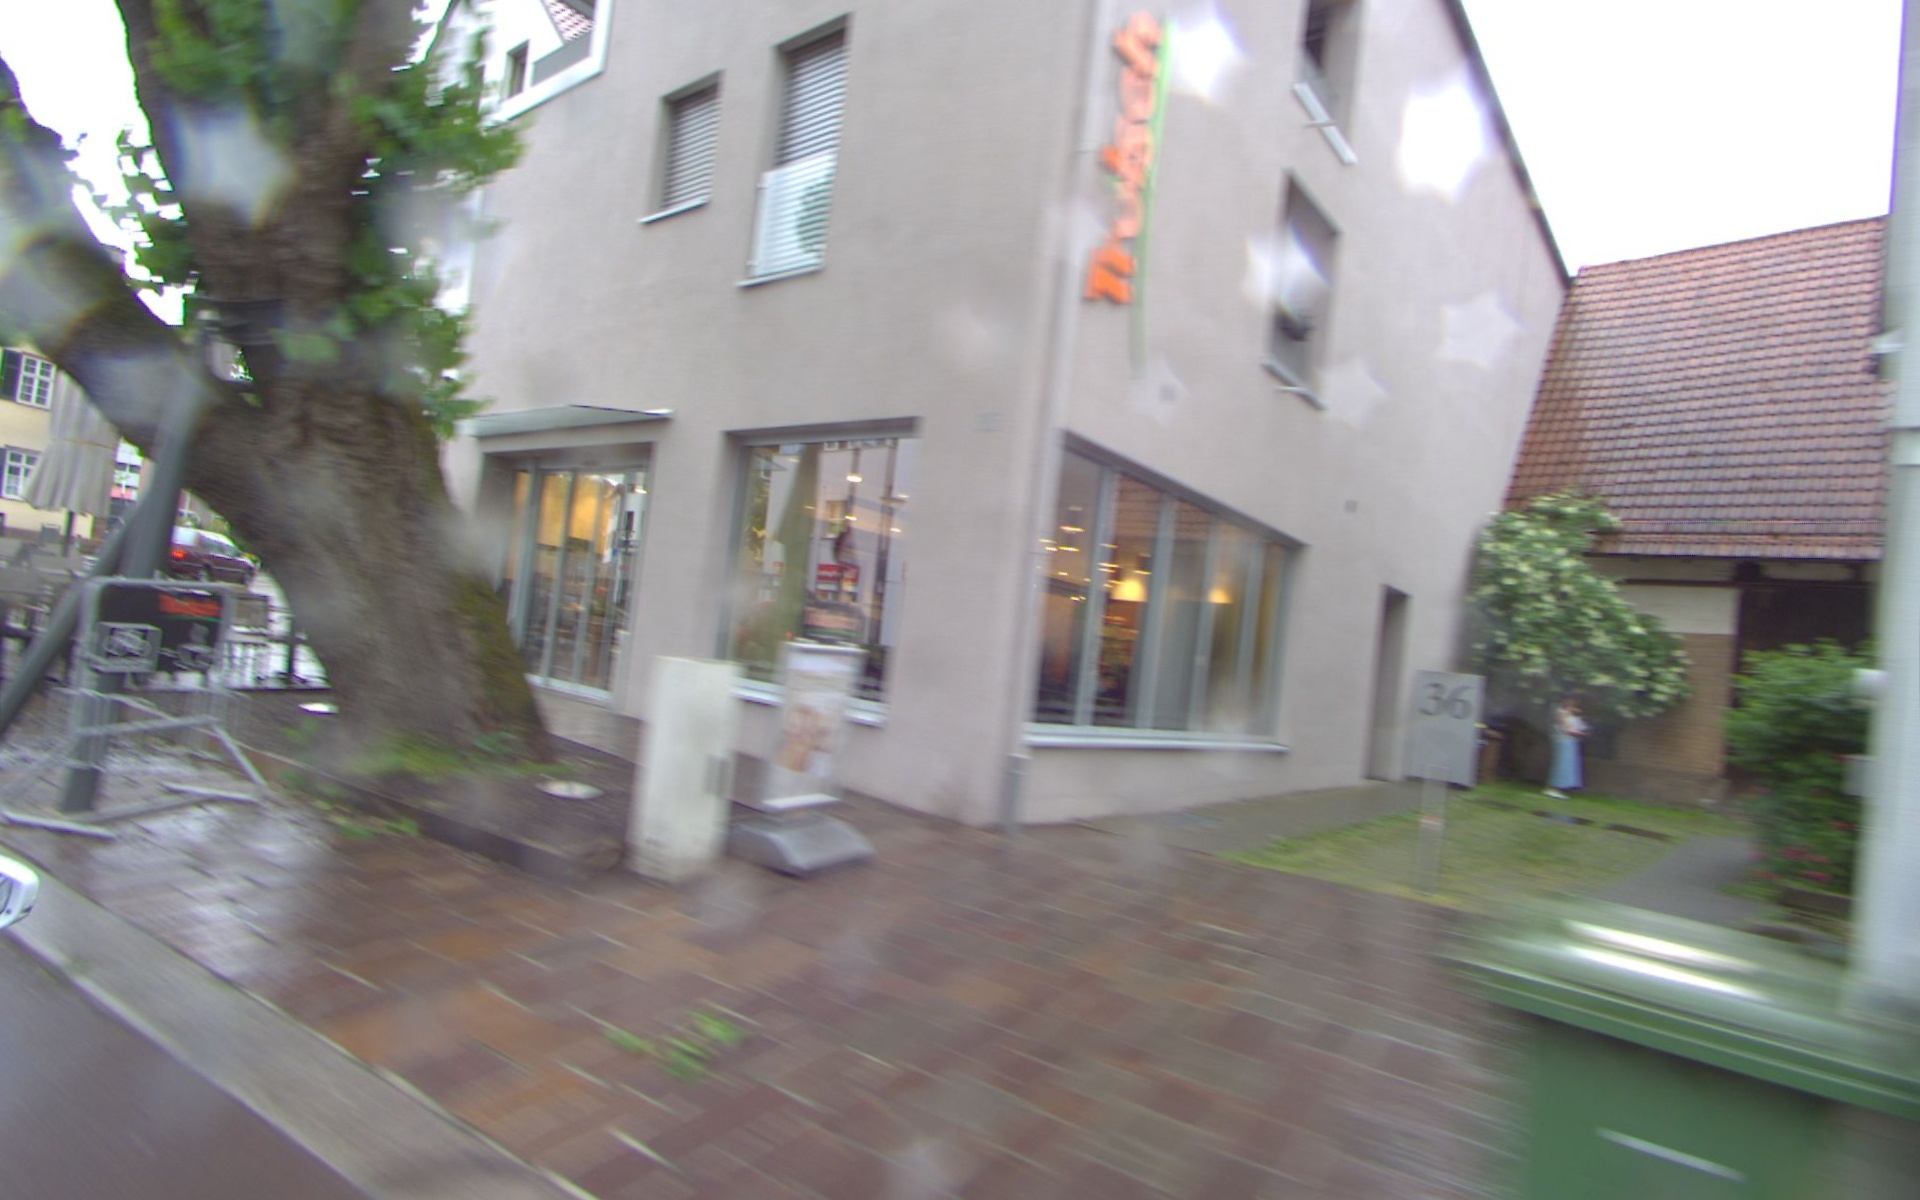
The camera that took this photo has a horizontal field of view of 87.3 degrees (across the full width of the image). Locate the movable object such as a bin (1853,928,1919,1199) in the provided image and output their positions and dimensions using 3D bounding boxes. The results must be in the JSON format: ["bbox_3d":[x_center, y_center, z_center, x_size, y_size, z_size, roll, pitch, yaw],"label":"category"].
[{"bbox_3d":[1.750,1.162,1.480,0.570,1.115,0.678,5,-4,35],"label":"movable object such as a bin"}]

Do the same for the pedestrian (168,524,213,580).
[{"bbox_3d":[-27.823,-1.740,36.366,0.755,1.862,0.899,5,-4,37],"label":"pedestrian"}]

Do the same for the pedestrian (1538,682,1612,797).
[{"bbox_3d":[9.965,2.257,16.298,0.707,1.734,0.679,9,-4,-36],"label":"pedestrian"}]

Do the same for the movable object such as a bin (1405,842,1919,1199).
[{"bbox_3d":[1.209,1.067,1.807,0.638,1.085,0.722,5,-4,35],"label":"movable object such as a bin"}]

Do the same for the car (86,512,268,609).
[{"bbox_3d":[-19.294,-0.877,25.052,1.969,1.818,3.993,8,-4,-15],"label":"car"}]
